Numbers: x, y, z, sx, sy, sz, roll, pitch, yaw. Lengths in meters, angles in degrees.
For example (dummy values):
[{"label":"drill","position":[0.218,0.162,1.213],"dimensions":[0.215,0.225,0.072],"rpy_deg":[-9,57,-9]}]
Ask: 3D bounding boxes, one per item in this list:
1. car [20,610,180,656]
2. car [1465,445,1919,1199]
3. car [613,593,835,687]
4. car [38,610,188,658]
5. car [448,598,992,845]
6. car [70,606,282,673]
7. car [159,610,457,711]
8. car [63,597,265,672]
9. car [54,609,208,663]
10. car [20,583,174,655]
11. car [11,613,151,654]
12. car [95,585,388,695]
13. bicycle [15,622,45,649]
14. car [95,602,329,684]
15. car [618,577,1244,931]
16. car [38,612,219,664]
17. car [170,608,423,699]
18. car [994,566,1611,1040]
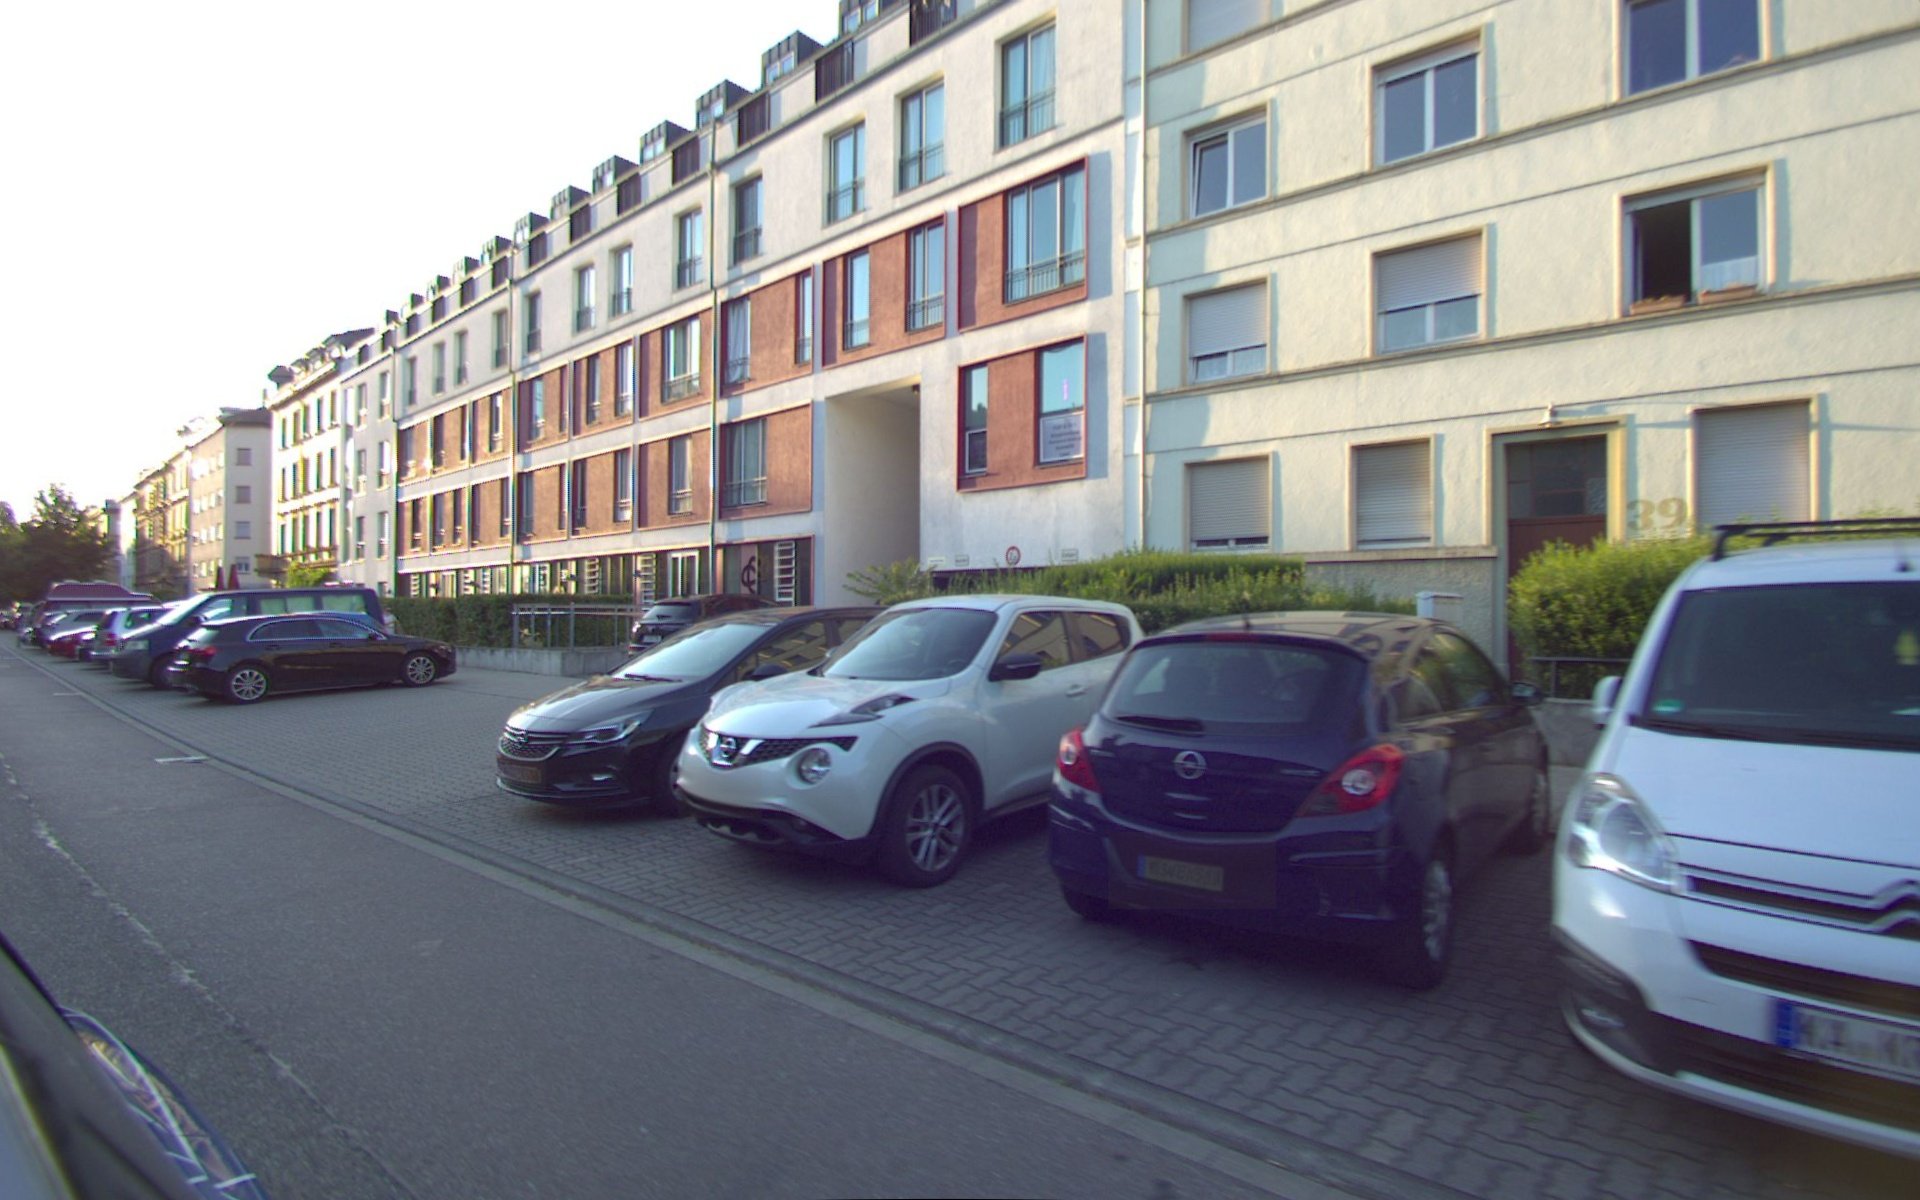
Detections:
[{"label":"car","position":[-31.230,1.159,36.822],"dimensions":[1.706,1.536,4.288],"rpy_deg":[-1,0,43]},{"label":"car","position":[3.616,0.533,3.658],"dimensions":[1.944,1.815,4.372],"rpy_deg":[-2,0,44]},{"label":"car","position":[-4.571,0.731,20.057],"dimensions":[1.997,1.646,3.949],"rpy_deg":[-1,-1,37]},{"label":"car","position":[-29.470,1.139,35.257],"dimensions":[3.903,1.551,1.756],"rpy_deg":[0,0,-44]},{"label":"car","position":[-1.800,0.791,8.817],"dimensions":[1.826,1.462,4.363],"rpy_deg":[-1,1,40]},{"label":"car","position":[-20.347,0.991,26.404],"dimensions":[2.049,1.601,3.952],"rpy_deg":[-1,-2,35]},{"label":"car","position":[-11.383,0.961,17.909],"dimensions":[1.737,1.426,4.098],"rpy_deg":[-1,1,39]},{"label":"car","position":[-22.069,0.909,28.195],"dimensions":[1.896,1.910,4.136],"rpy_deg":[-1,-1,39]},{"label":"car","position":[-27.420,1.132,33.530],"dimensions":[3.841,1.629,1.701],"rpy_deg":[0,0,-44]},{"label":"car","position":[-33.052,0.711,38.824],"dimensions":[1.933,2.576,4.351],"rpy_deg":[-1,-1,45]},{"label":"car","position":[-35.040,1.302,40.411],"dimensions":[1.802,1.427,3.940],"rpy_deg":[-1,1,37]},{"label":"car","position":[-15.052,0.776,21.403],"dimensions":[2.001,2.070,4.799],"rpy_deg":[-1,-1,45]},{"label":"bicycle","position":[-38.863,1.475,42.265],"dimensions":[0.794,1.061,2.416],"rpy_deg":[-4,2,-44]},{"label":"car","position":[-17.399,0.933,23.680],"dimensions":[1.902,1.736,4.140],"rpy_deg":[-1,-1,42]},{"label":"car","position":[0.089,0.694,6.868],"dimensions":[1.813,1.633,4.198],"rpy_deg":[-2,0,42]},{"label":"car","position":[-25.827,1.124,31.532],"dimensions":[1.789,1.505,4.215],"rpy_deg":[-1,-1,44]},{"label":"car","position":[-12.899,0.963,19.844],"dimensions":[1.653,1.504,3.844],"rpy_deg":[-1,1,40]},{"label":"car","position":[2.130,0.647,5.458],"dimensions":[1.755,1.495,3.946],"rpy_deg":[-1,2,41]}]
